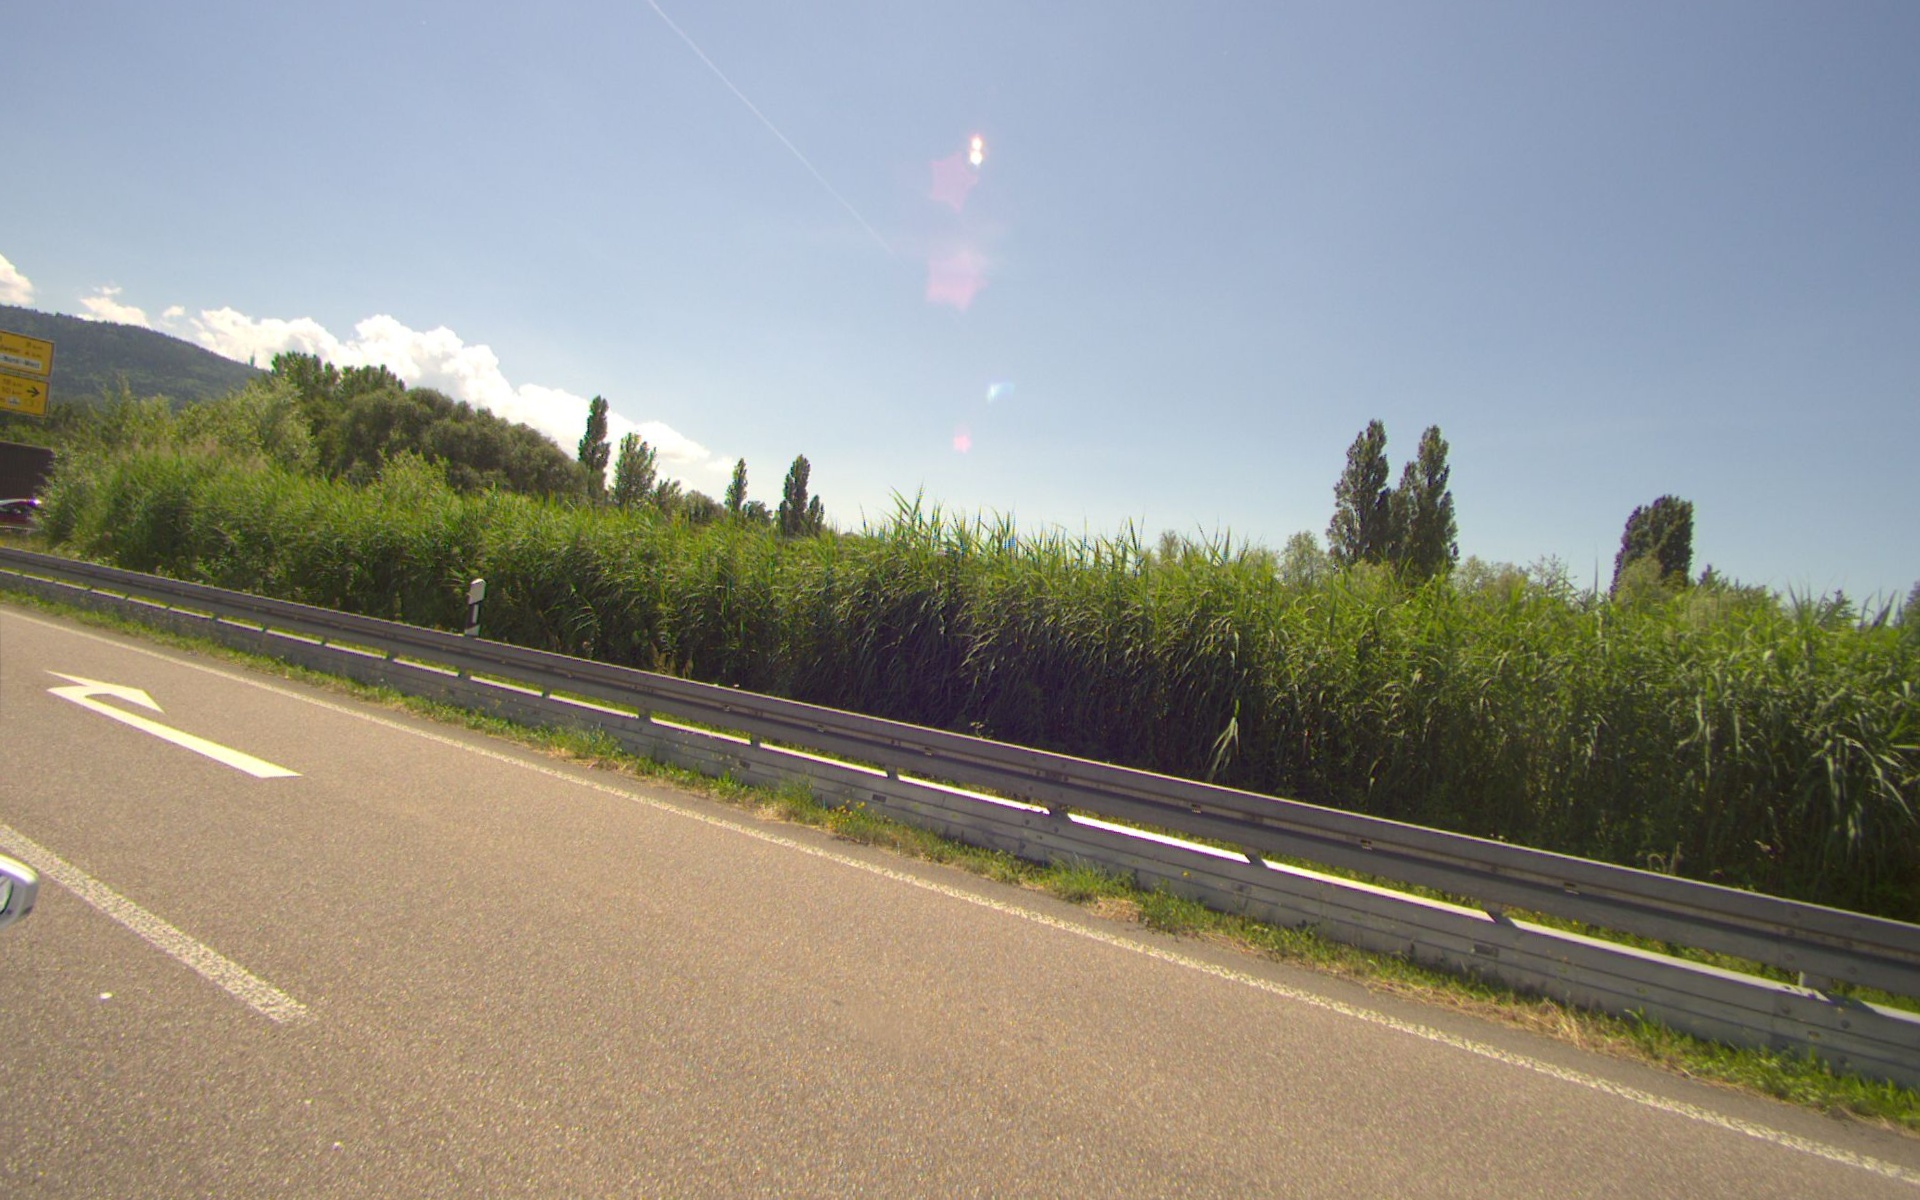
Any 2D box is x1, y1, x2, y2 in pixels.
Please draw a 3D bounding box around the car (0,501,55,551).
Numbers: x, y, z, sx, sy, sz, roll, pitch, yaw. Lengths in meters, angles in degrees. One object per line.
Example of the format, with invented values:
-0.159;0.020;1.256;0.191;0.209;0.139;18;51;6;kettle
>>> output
-36.663;-2.981;37.157;1.966;1.676;4.320;7;-2;28;car
